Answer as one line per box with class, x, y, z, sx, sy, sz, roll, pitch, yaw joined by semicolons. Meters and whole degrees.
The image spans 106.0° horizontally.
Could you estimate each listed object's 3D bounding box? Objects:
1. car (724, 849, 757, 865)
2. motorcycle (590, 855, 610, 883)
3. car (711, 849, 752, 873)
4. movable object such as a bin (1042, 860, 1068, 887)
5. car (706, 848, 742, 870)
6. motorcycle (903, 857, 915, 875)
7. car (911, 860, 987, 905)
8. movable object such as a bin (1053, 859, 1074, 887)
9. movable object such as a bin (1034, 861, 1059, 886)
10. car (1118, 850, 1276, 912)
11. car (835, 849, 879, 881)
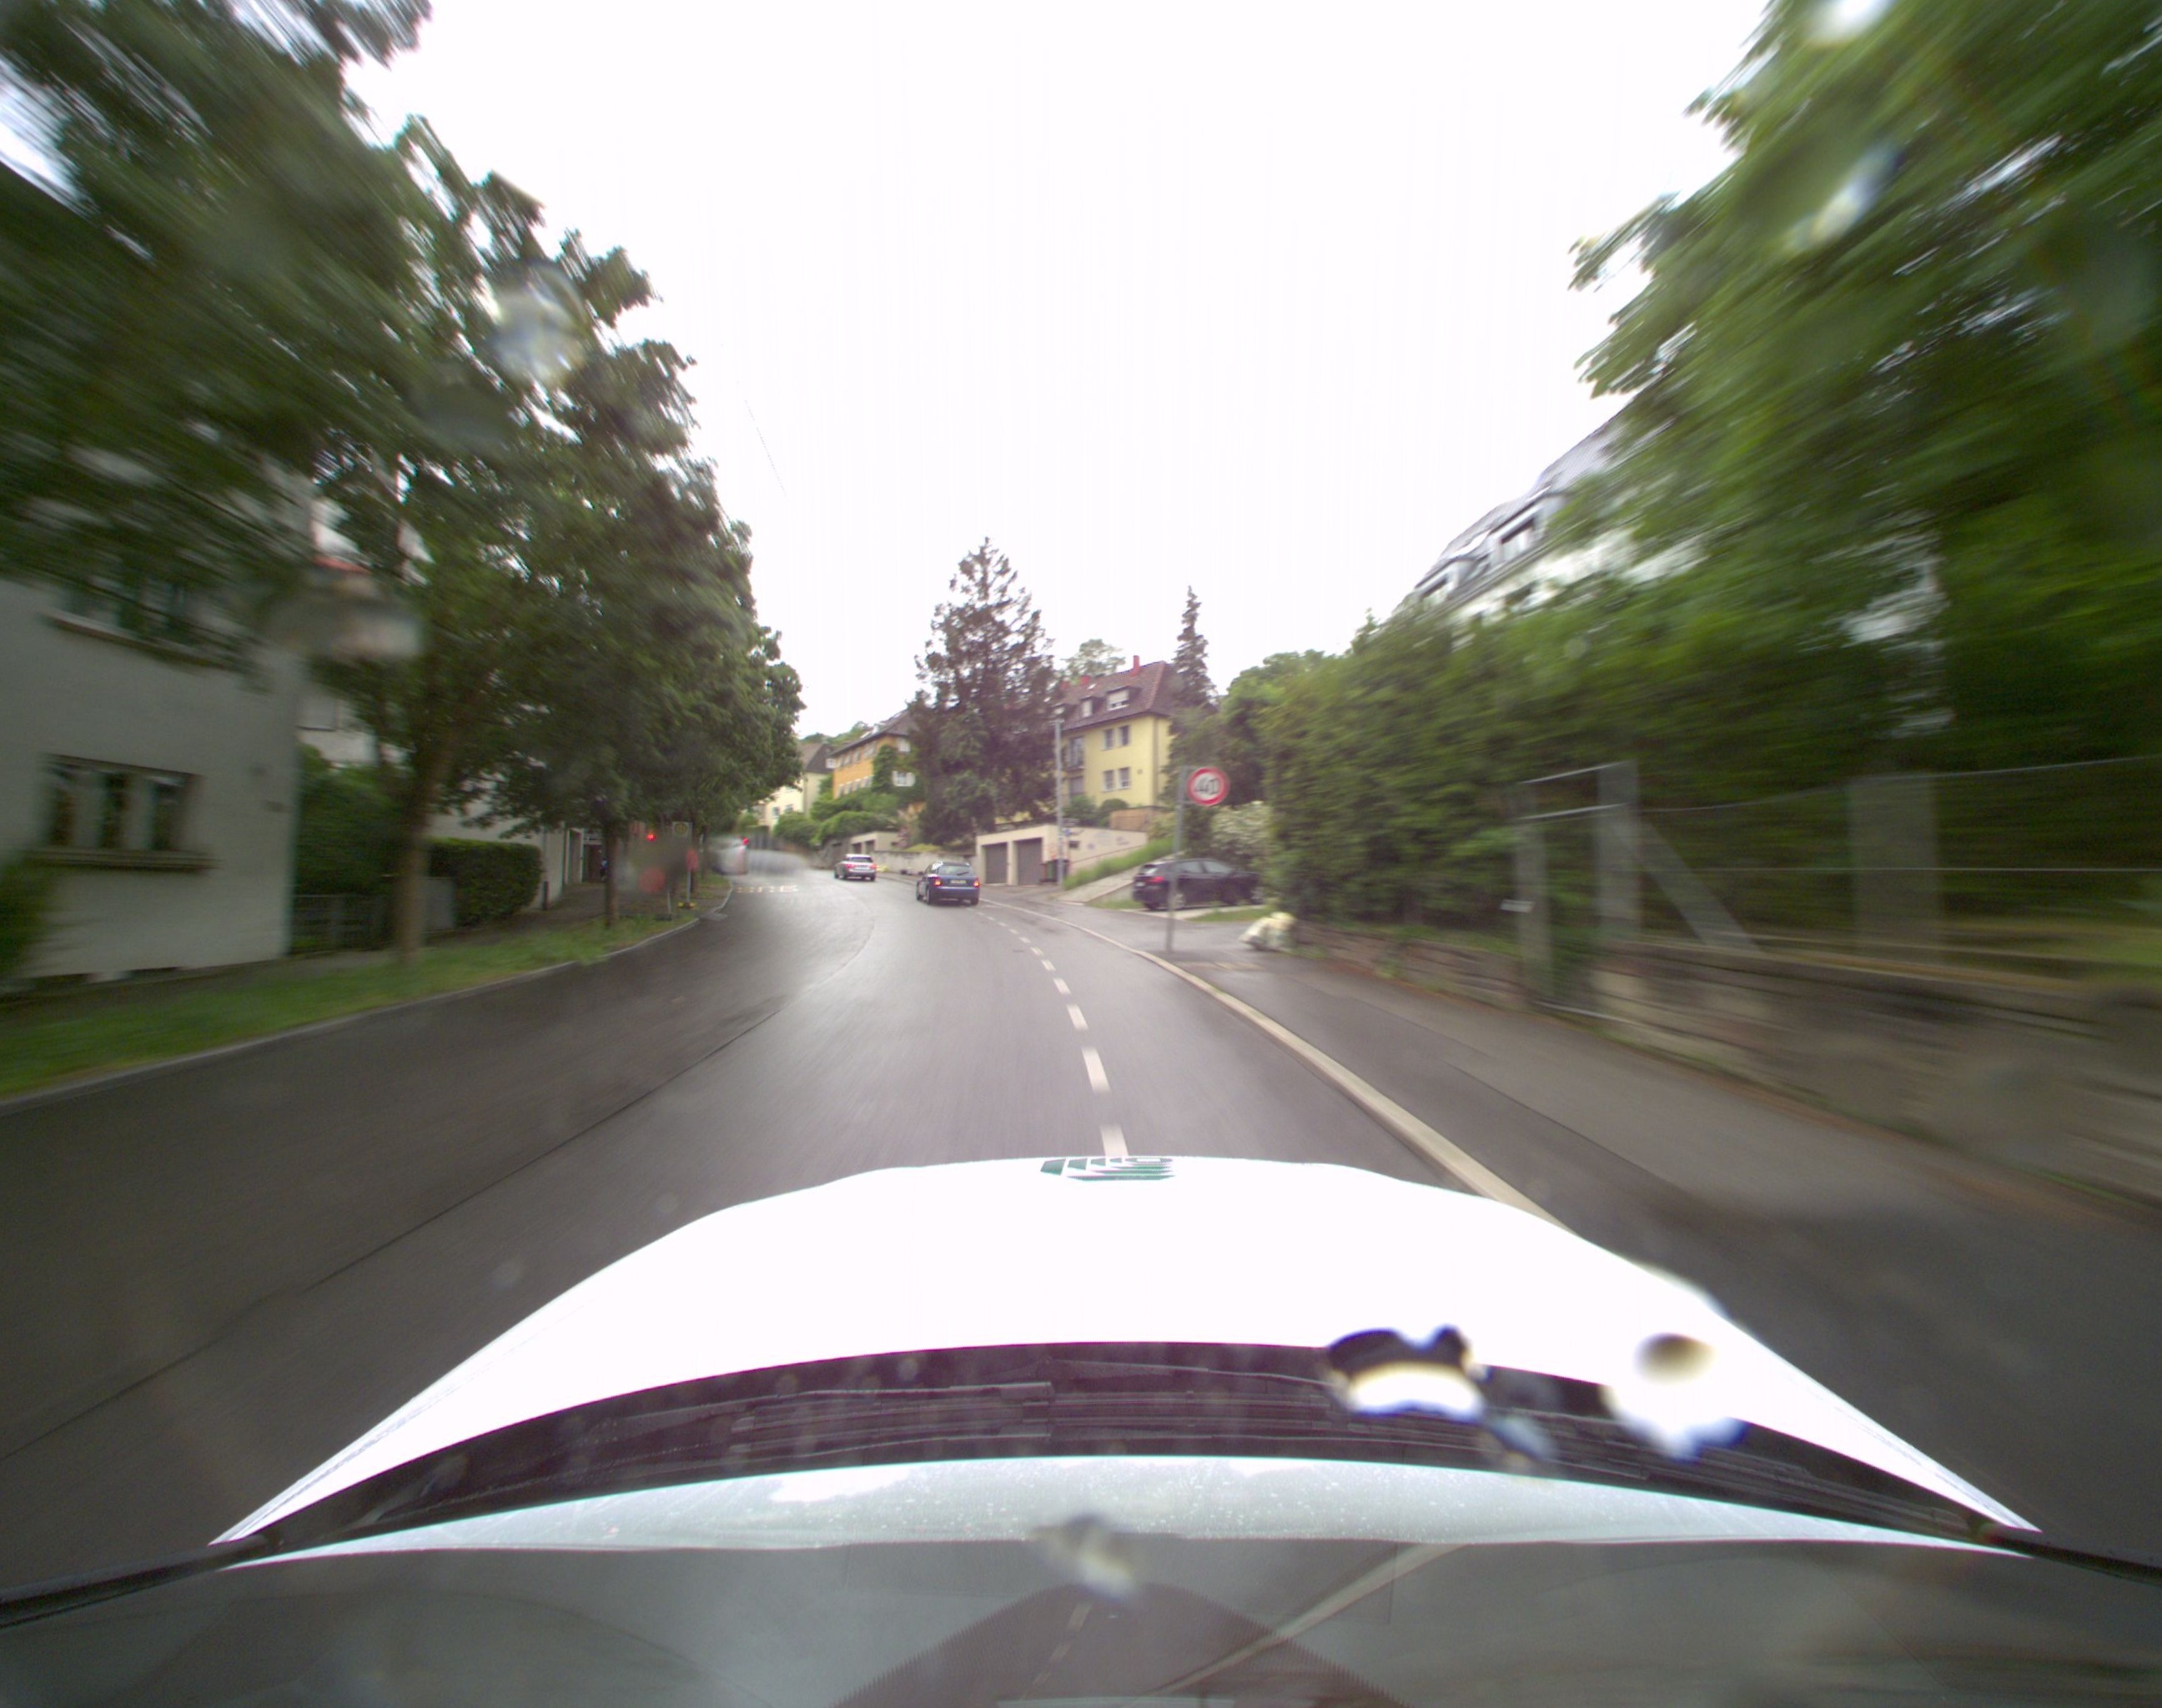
car;-36.951;0.308;88.401;2.012;1.684;3.951;0;0;-45
motorcycle;-21.373;0.643;36.192;0.617;1.159;1.684;2;1;-26
car;-23.967;0.461;55.814;2.007;1.530;3.960;0;0;-32
movable object such as a bin;-1.204;0.882;37.569;0.866;1.185;0.778;-1;0;-38
car;-26.329;0.343;60.044;1.891;1.596;3.960;0;0;-32
motorcycle;-11.226;0.792;53.216;0.550;1.131;1.430;0;0;-22
car;-4.751;0.944;28.731;1.860;1.414;4.332;-1;0;-20
movable object such as a bin;-0.801;0.849;37.032;0.708;1.223;0.574;-1;0;-38
movable object such as a bin;-1.604;0.892;38.263;0.866;1.142;0.790;-1;0;-38
car;3.369;0.750;23.726;4.181;1.508;1.729;-3;0;-19
car;-12.958;0.599;46.971;1.957;1.561;4.233;2;1;-21
